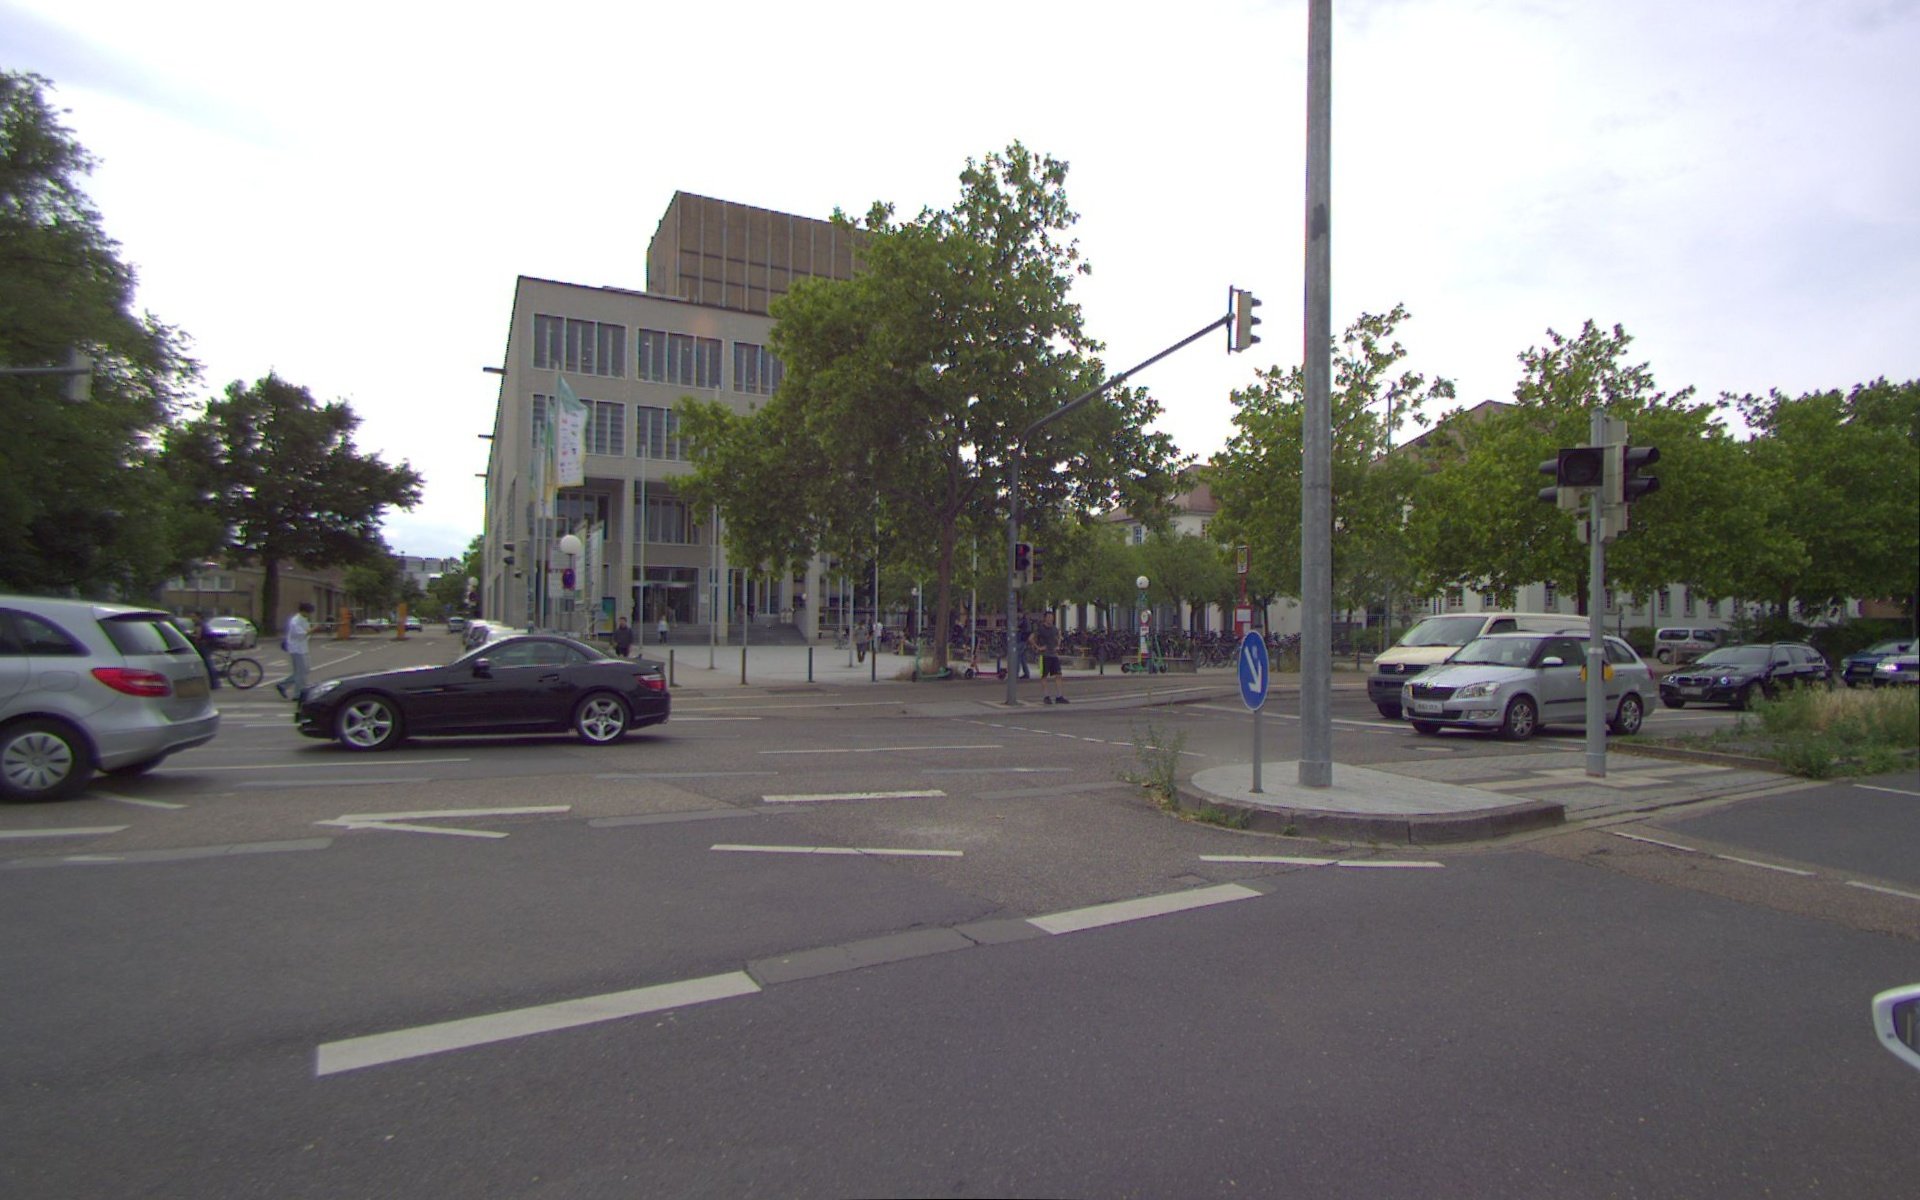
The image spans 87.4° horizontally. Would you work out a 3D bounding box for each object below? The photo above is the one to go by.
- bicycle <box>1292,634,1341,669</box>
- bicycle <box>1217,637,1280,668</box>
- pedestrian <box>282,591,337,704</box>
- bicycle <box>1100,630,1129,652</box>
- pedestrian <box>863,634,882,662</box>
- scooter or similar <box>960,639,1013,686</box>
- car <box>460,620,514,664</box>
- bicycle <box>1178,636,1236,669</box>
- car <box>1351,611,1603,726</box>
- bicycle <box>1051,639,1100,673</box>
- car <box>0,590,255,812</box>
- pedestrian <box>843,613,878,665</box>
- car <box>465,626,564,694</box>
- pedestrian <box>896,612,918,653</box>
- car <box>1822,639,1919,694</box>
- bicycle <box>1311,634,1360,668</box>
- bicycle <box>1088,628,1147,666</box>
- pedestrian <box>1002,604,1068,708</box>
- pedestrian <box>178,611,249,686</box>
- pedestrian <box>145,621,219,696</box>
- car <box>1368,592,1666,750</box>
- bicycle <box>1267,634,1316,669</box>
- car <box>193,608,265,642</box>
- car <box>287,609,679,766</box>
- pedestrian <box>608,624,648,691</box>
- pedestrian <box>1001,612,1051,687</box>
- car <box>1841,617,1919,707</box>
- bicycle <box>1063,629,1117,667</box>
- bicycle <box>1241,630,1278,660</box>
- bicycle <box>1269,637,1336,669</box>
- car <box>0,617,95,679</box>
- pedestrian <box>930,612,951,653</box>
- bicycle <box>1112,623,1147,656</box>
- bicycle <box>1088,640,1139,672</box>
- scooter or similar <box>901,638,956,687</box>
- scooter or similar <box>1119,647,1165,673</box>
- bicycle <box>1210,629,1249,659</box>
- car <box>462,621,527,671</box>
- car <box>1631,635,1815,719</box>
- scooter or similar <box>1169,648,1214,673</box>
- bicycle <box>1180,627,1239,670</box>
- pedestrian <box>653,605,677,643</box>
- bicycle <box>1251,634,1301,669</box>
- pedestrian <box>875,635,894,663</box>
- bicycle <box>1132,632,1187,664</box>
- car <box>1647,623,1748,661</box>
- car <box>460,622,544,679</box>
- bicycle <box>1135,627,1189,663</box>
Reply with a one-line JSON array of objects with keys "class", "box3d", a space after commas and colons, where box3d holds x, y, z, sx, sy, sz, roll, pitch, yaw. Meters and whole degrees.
[{"class": "bicycle", "box3d": [17.283, 2.493, 48.766, 0.713, 1.615, 2.388, 2, -2, -30]}, {"class": "bicycle", "box3d": [11.258, 2.035, 39.269, 0.717, 1.159, 2.301, 2, -2, -44]}, {"class": "pedestrian", "box3d": [-12.390, 0.890, 19.166, 0.844, 2.086, 0.663, -1, -1, -32]}, {"class": "bicycle", "box3d": [9.075, 2.402, 58.975, 0.906, 1.221, 2.663, 2, -2, -9]}, {"class": "pedestrian", "box3d": [-4.657, 2.552, 53.233, 0.783, 1.437, 0.894, 1, -2, -19]}, {"class": "scooter or similar", "box3d": [0.666, 1.559, 25.170, 1.302, 1.155, 0.359, 2, -2, -27]}, {"class": "car", "box3d": [-19.600, 1.719, 41.557, 1.830, 1.706, 3.972, 2, -2, -27]}, {"class": "bicycle", "box3d": [9.141, 1.918, 37.261, 0.717, 1.168, 2.010, 2, -2, -44]}, {"class": "car", "box3d": [9.486, 1.207, 18.398, 4.428, 1.872, 1.766, 2, 0, -25]}, {"class": "bicycle", "box3d": [4.785, 2.301, 41.715, 0.713, 1.371, 2.473, 2, -2, -30]}, {"class": "car", "box3d": [-8.226, 0.761, 7.764, 4.196, 1.604, 1.953, 1, -3, -24]}, {"class": "pedestrian", "box3d": [-3.971, 1.565, 40.135, 1.090, 2.040, 0.785, 2, -2, -43]}, {"class": "car", "box3d": [-11.820, 1.511, 26.490, 1.976, 1.491, 4.122, 2, 0, -30]}, {"class": "pedestrian", "box3d": [-2.611, 1.609, 49.693, 0.969, 2.040, 0.795, 1, -2, 2]}, {"class": "car", "box3d": [30.569, 2.156, 32.919, 4.531, 1.629, 1.853, 2, 0, -25]}, {"class": "bicycle", "box3d": [18.615, 2.532, 49.890, 0.713, 1.615, 2.388, 2, -2, -30]}, {"class": "bicycle", "box3d": [6.856, 2.037, 43.858, 0.914, 1.579, 2.640, 2, -2, -36]}, {"class": "pedestrian", "box3d": [1.525, 1.131, 20.427, 0.997, 2.040, 0.890, 2, -2, -28]}, {"class": "pedestrian", "box3d": [-15.777, 1.020, 21.257, 0.961, 1.533, 0.821, 1, -2, -21]}, {"class": "pedestrian", "box3d": [-15.661, 1.156, 20.224, 0.689, 1.447, 0.997, 2, 0, 36]}, {"class": "car", "box3d": [8.181, 0.999, 14.758, 3.948, 2.040, 1.987, 2, -2, -27]}, {"class": "bicycle", "box3d": [15.901, 2.453, 48.206, 0.713, 1.615, 2.388, 2, -2, -30]}, {"class": "car", "box3d": [-35.161, 1.222, 48.425, 1.973, 1.561, 3.976, 2, -2, -25]}, {"class": "car", "box3d": [-5.534, 0.988, 12.175, 3.940, 1.641, 1.991, 1, -2, -20]}, {"class": "pedestrian", "box3d": [-10.374, 1.776, 31.373, 1.004, 2.040, 0.999, 1, -2, -27]}, {"class": "pedestrian", "box3d": [1.644, 1.247, 25.135, 0.925, 1.827, 0.891, 2, -3, -30]}, {"class": "car", "box3d": [20.547, 1.257, 20.604, 4.882, 1.709, 1.987, 1, 0, -26]}, {"class": "bicycle", "box3d": [5.483, 2.011, 42.468, 0.772, 1.579, 2.644, 2, -2, -31]}, {"class": "bicycle", "box3d": [16.479, 2.463, 55.362, 0.906, 1.579, 2.663, 1, -2, -9]}, {"class": "bicycle", "box3d": [13.564, 2.079, 39.880, 0.713, 1.190, 2.734, 2, -2, -30]}, {"class": "car", "box3d": [-24.599, 1.218, 26.492, 1.839, 1.469, 3.572, 2, -1, -26]}, {"class": "pedestrian", "box3d": [-1.001, 1.666, 50.740, 0.783, 2.040, 0.894, 1, -2, -19]}, {"class": "bicycle", "box3d": [8.461, 1.974, 50.268, 0.906, 1.579, 2.663, 1, -2, -9]}, {"class": "bicycle", "box3d": [6.482, 2.349, 42.481, 0.713, 1.286, 2.523, 2, -2, -30]}, {"class": "scooter or similar", "box3d": [-0.770, 1.518, 24.464, 1.302, 1.155, 0.359, 2, -2, -27]}, {"class": "scooter or similar", "box3d": [5.260, 1.736, 29.002, 1.271, 0.703, 0.405, 2, 0, -24]}, {"class": "bicycle", "box3d": [14.708, 2.359, 54.876, 0.906, 1.579, 3.084, 1, -2, -9]}, {"class": "car", "box3d": [-17.178, 1.643, 36.983, 1.975, 1.601, 3.971, 2, 0, -27]}, {"class": "car", "box3d": [16.787, 1.652, 22.091, 3.948, 1.712, 1.693, 2, -2, -27]}, {"class": "scooter or similar", "box3d": [6.785, 1.779, 29.413, 1.271, 0.703, 0.405, 2, 0, -24]}, {"class": "bicycle", "box3d": [9.620, 1.849, 38.790, 0.891, 1.579, 2.177, 2, -2, -36]}, {"class": "pedestrian", "box3d": [-16.077, 1.313, 54.739, 1.031, 2.040, 0.785, 2, -2, -43]}, {"class": "bicycle", "box3d": [14.944, 2.426, 47.547, 0.713, 1.615, 2.388, 2, -2, -30]}, {"class": "pedestrian", "box3d": [-3.951, 2.571, 52.341, 0.783, 1.437, 0.894, 1, -2, -19]}, {"class": "bicycle", "box3d": [8.719, 2.095, 43.962, 0.713, 1.347, 2.805, 2, -2, -30]}, {"class": "car", "box3d": [35.786, 2.014, 48.826, 1.632, 1.623, 3.570, 1, 0, -28]}, {"class": "car", "box3d": [-14.056, 1.487, 30.721, 1.976, 1.491, 3.968, 2, 0, -30]}, {"class": "bicycle", "box3d": [9.089, 2.000, 45.359, 0.914, 1.579, 2.427, 2, -2, -36]}]
